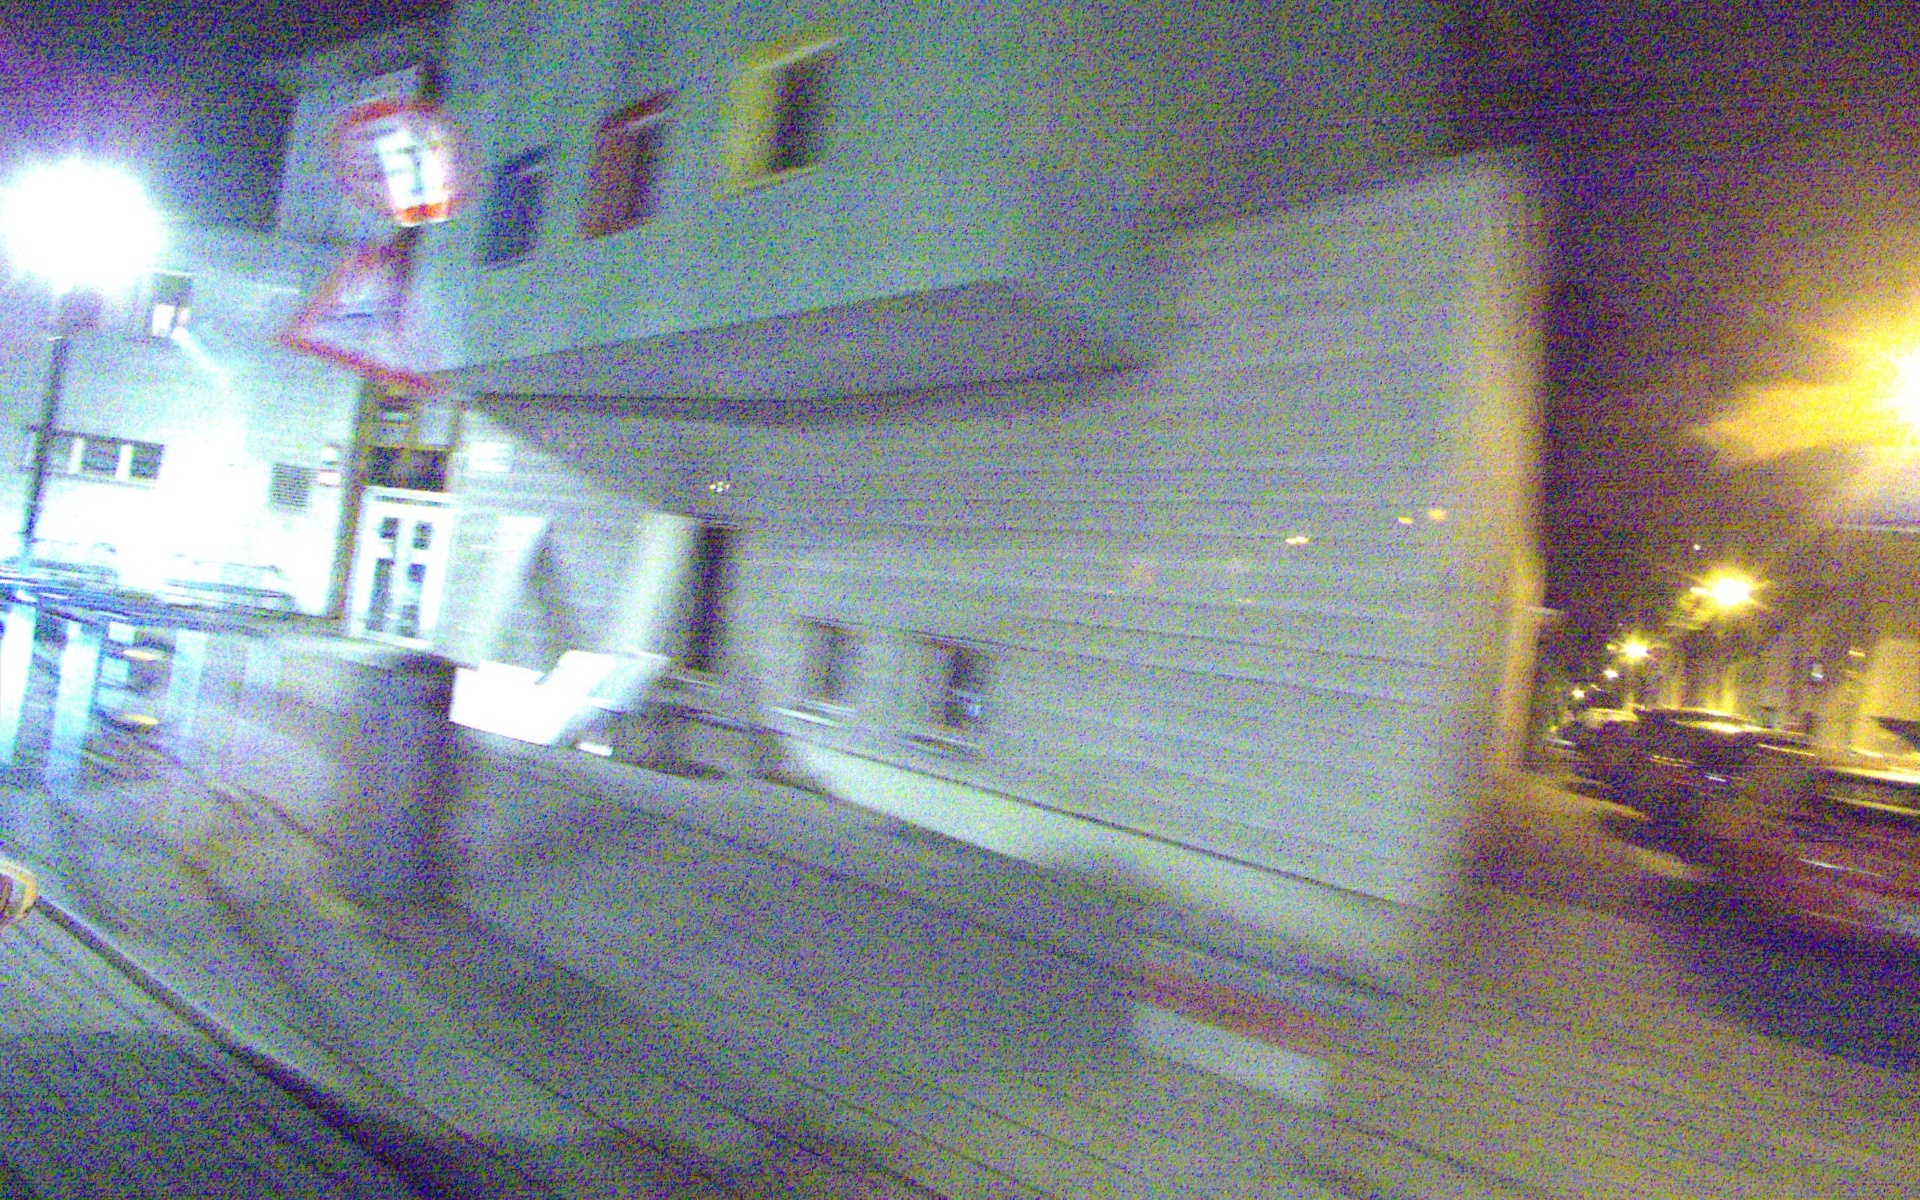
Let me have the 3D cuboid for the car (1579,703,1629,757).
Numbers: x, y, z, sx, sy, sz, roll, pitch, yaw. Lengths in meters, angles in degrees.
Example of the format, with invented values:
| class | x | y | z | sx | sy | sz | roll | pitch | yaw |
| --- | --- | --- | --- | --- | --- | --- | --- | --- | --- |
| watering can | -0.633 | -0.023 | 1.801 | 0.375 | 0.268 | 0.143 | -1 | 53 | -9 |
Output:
| class | x | y | z | sx | sy | sz | roll | pitch | yaw |
| --- | --- | --- | --- | --- | --- | --- | --- | --- | --- |
| car | 25.804 | 5.171 | 40.384 | 1.540 | 1.871 | 3.264 | 2 | -3 | 31 |

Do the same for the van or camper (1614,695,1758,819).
| class | x | y | z | sx | sy | sz | roll | pitch | yaw |
| --- | --- | --- | --- | --- | --- | --- | --- | --- | --- |
| van or camper | 12.886 | 2.737 | 18.059 | 1.634 | 1.774 | 3.572 | 6 | -3 | 31 |

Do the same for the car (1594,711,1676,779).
| class | x | y | z | sx | sy | sz | roll | pitch | yaw |
| --- | --- | --- | --- | --- | --- | --- | --- | --- | --- |
| car | 18.132 | 3.848 | 27.137 | 1.635 | 1.518 | 3.264 | 2 | -3 | 31 |

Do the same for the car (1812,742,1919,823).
| class | x | y | z | sx | sy | sz | roll | pitch | yaw |
| --- | --- | --- | --- | --- | --- | --- | --- | --- | --- |
| car | 25.639 | 5.063 | 28.353 | 1.670 | 1.686 | 4.209 | 10 | 0 | 32 |

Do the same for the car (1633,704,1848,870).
| class | x | y | z | sx | sy | sz | roll | pitch | yaw |
| --- | --- | --- | --- | --- | --- | --- | --- | --- | --- |
| car | 10.068 | 2.322 | 13.267 | 1.634 | 1.606 | 3.860 | 7 | -2 | 31 |

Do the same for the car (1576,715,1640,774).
| class | x | y | z | sx | sy | sz | roll | pitch | yaw |
| --- | --- | --- | --- | --- | --- | --- | --- | --- | --- |
| car | 20.227 | 4.469 | 31.488 | 1.540 | 1.518 | 3.264 | 2 | -3 | 31 |

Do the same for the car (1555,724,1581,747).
| class | x | y | z | sx | sy | sz | roll | pitch | yaw |
| --- | --- | --- | --- | --- | --- | --- | --- | --- | --- |
| car | 39.514 | 8.782 | 65.396 | 1.293 | 1.188 | 2.611 | 5 | -1 | 31 |

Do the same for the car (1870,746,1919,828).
| class | x | y | z | sx | sy | sz | roll | pitch | yaw |
| --- | --- | --- | --- | --- | --- | --- | --- | --- | --- |
| car | 23.009 | 4.491 | 23.518 | 1.670 | 1.686 | 3.941 | 10 | 0 | 32 |

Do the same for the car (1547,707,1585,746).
| class | x | y | z | sx | sy | sz | roll | pitch | yaw |
| --- | --- | --- | --- | --- | --- | --- | --- | --- | --- |
| car | 30.658 | 6.357 | 50.915 | 1.540 | 1.713 | 3.264 | 2 | -3 | 31 |

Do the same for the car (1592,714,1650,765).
| class | x | y | z | sx | sy | sz | roll | pitch | yaw |
| --- | --- | --- | --- | --- | --- | --- | --- | --- | --- |
| car | 23.539 | 4.925 | 35.911 | 1.540 | 1.518 | 3.264 | 2 | -3 | 31 |

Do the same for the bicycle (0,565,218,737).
| class | x | y | z | sx | sy | sz | roll | pitch | yaw |
| --- | --- | --- | --- | --- | --- | --- | --- | --- | --- |
| bicycle | -6.069 | 0.346 | 6.685 | 0.340 | 1.074 | 1.759 | 7 | -2 | 29 |

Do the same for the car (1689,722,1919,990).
| class | x | y | z | sx | sy | sz | roll | pitch | yaw |
| --- | --- | --- | --- | --- | --- | --- | --- | --- | --- |
| car | 7.084 | 1.881 | 7.949 | 1.697 | 1.459 | 3.618 | 6 | -1 | 31 |

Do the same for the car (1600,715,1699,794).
| class | x | y | z | sx | sy | sz | roll | pitch | yaw |
| --- | --- | --- | --- | --- | --- | --- | --- | --- | --- |
| car | 16.596 | 3.675 | 24.339 | 1.634 | 1.517 | 3.267 | 7 | -2 | 31 |
